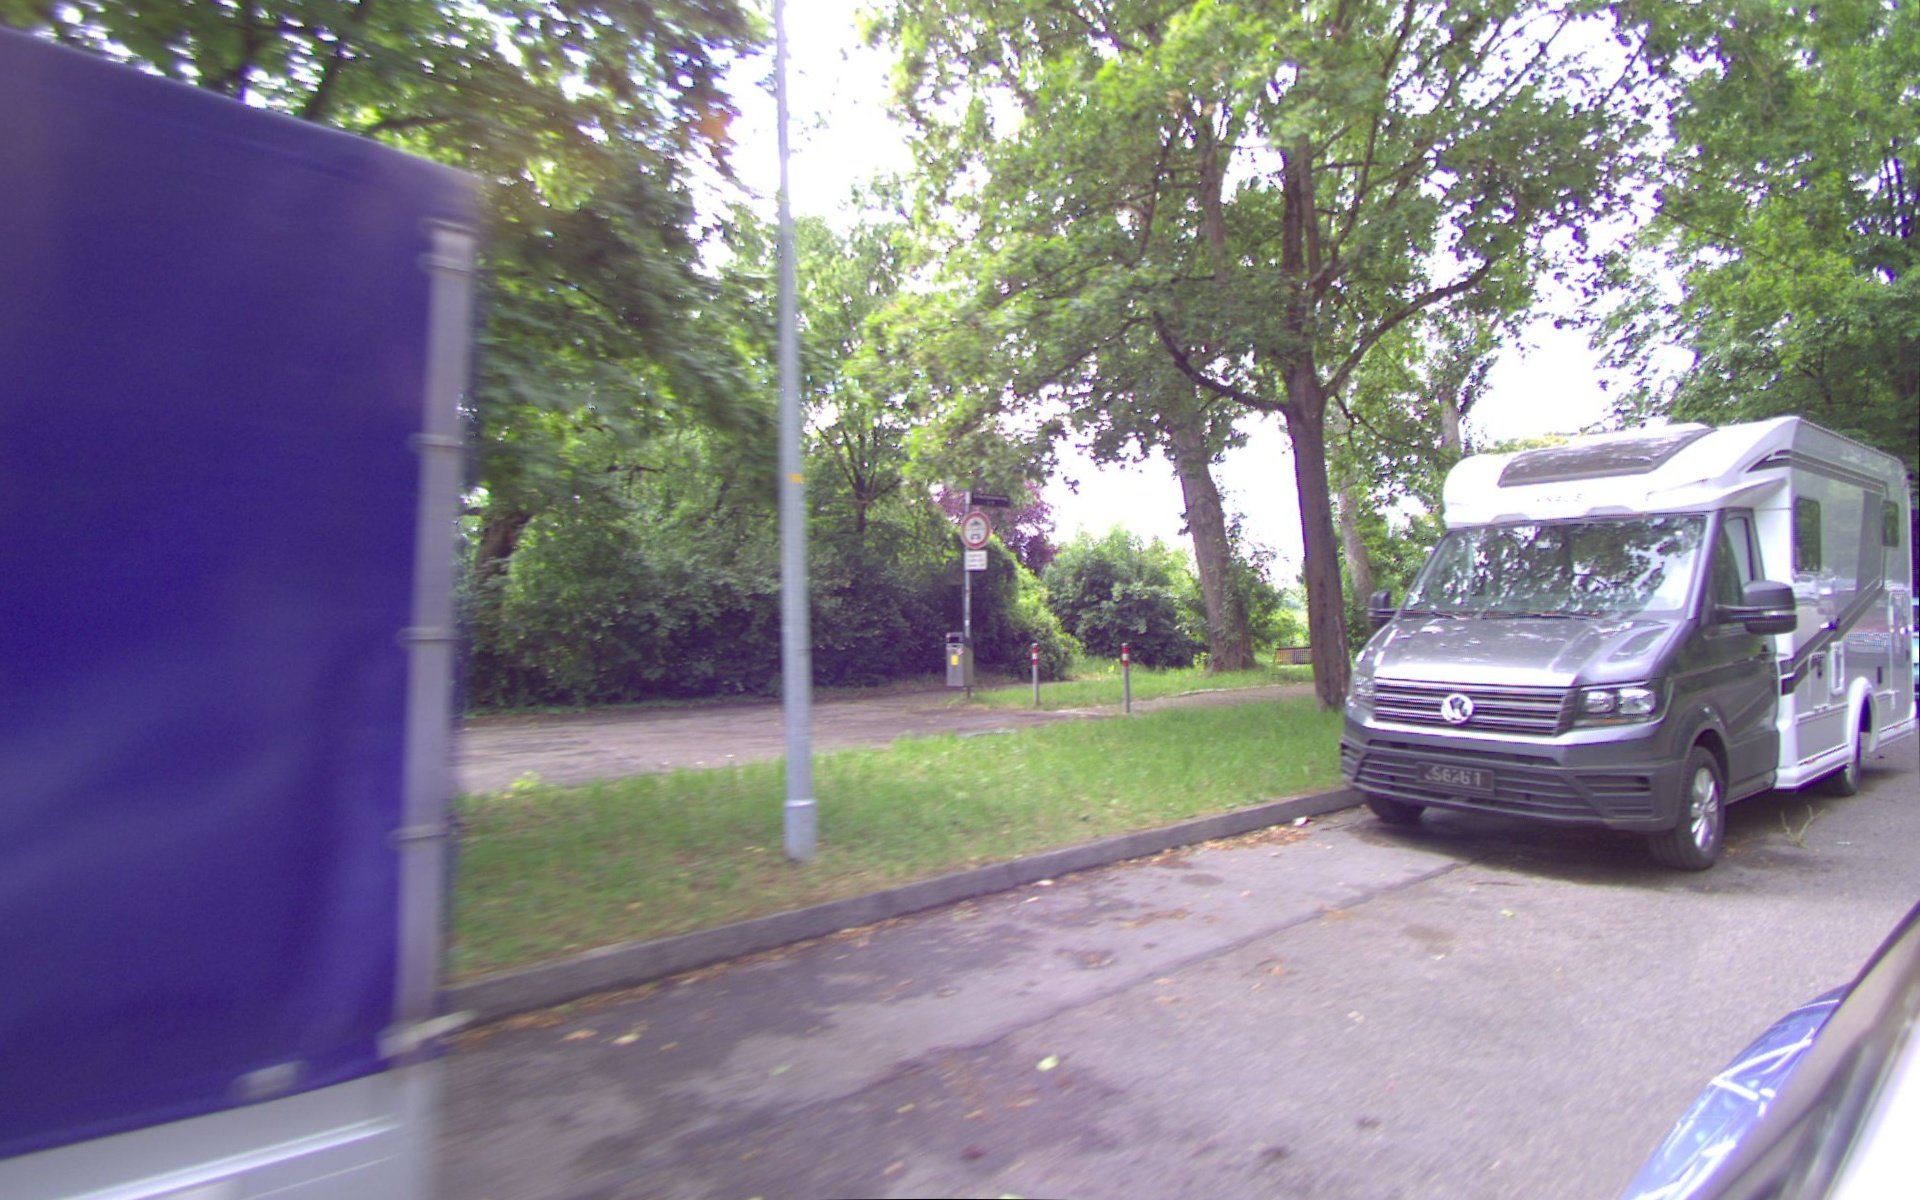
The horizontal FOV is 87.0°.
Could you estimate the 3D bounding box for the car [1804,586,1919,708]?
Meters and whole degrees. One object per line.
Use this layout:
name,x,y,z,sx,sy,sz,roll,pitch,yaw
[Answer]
car,13.717,0.587,14.395,3.697,1.567,1.700,-1,-1,-35

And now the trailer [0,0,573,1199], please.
trailer,-3.057,0.275,0.828,2.107,2.392,4.624,1,-1,45

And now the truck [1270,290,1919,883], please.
truck,5.553,-0.093,8.106,6.904,2.970,2.309,0,0,-38
